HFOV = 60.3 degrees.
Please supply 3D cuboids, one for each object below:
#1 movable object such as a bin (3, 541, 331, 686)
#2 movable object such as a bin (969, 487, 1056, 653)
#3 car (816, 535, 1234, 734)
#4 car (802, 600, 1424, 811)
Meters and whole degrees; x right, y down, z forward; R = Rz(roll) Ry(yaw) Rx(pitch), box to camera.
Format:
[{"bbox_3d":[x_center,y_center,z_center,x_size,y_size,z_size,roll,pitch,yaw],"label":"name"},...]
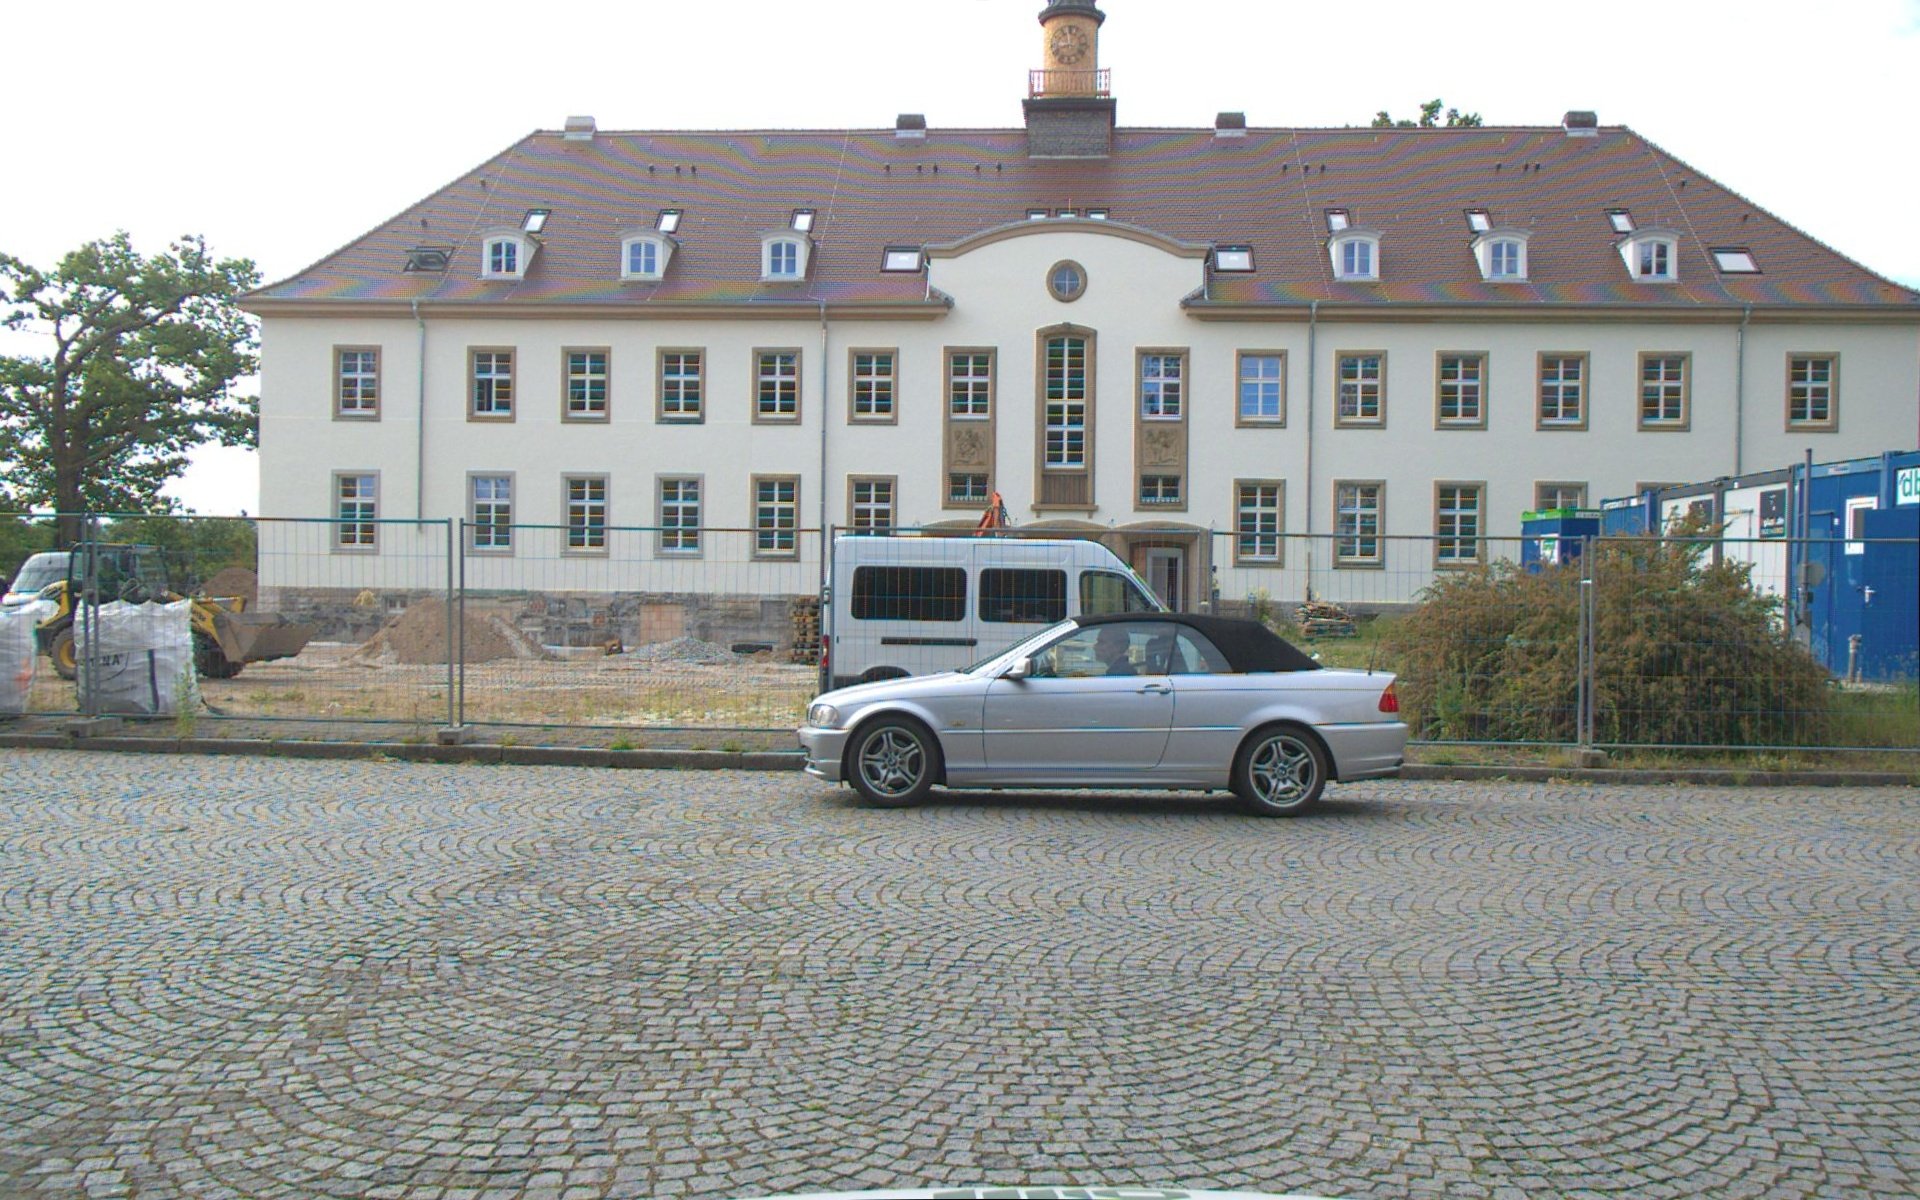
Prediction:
[{"bbox_3d":[-14.870,0.234,31.206,5.218,2.601,2.001,1,0,2],"label":"movable object such as a bin"},{"bbox_3d":[1.237,-0.705,41.104,1.953,3.837,5.317,1,0,0],"label":"movable object such as a bin"},{"bbox_3d":[0.860,0.413,21.425,5.151,2.385,1.911,1,0,5],"label":"car"},{"bbox_3d":[1.052,0.737,11.986,4.192,1.370,1.607,1,-2,1],"label":"car"}]
